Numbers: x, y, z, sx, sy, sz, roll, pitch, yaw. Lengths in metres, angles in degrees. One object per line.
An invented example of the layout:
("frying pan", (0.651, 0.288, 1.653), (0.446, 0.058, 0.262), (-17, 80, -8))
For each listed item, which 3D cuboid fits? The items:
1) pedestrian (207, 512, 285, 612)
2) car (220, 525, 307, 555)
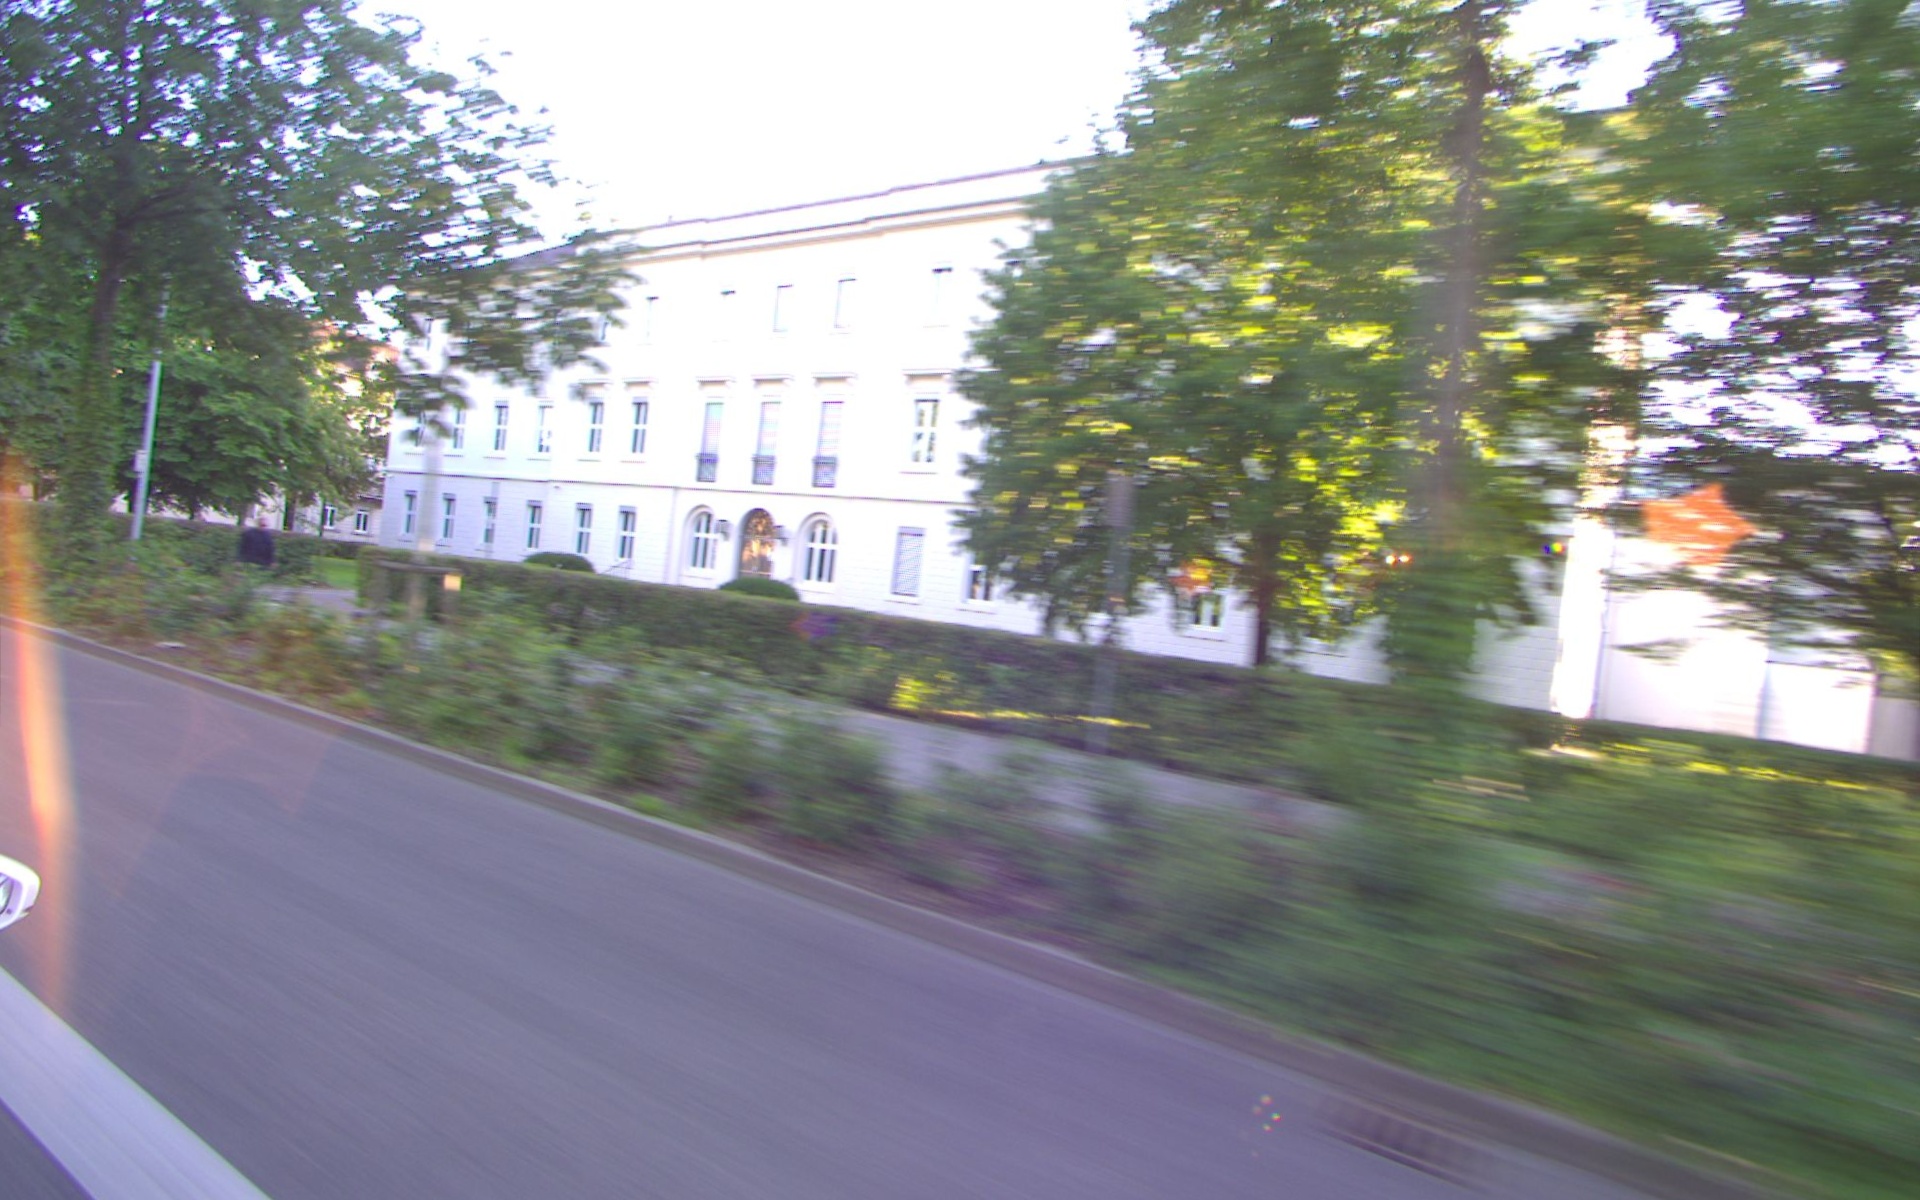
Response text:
("pedestrian", (-13.440, -0.707, 18.942), (0.793, 1.760, 0.772), (7, 0, 25))
("car", (-45.511, -3.908, 65.806), (1.840, 1.500, 4.243), (6, 1, 32))
